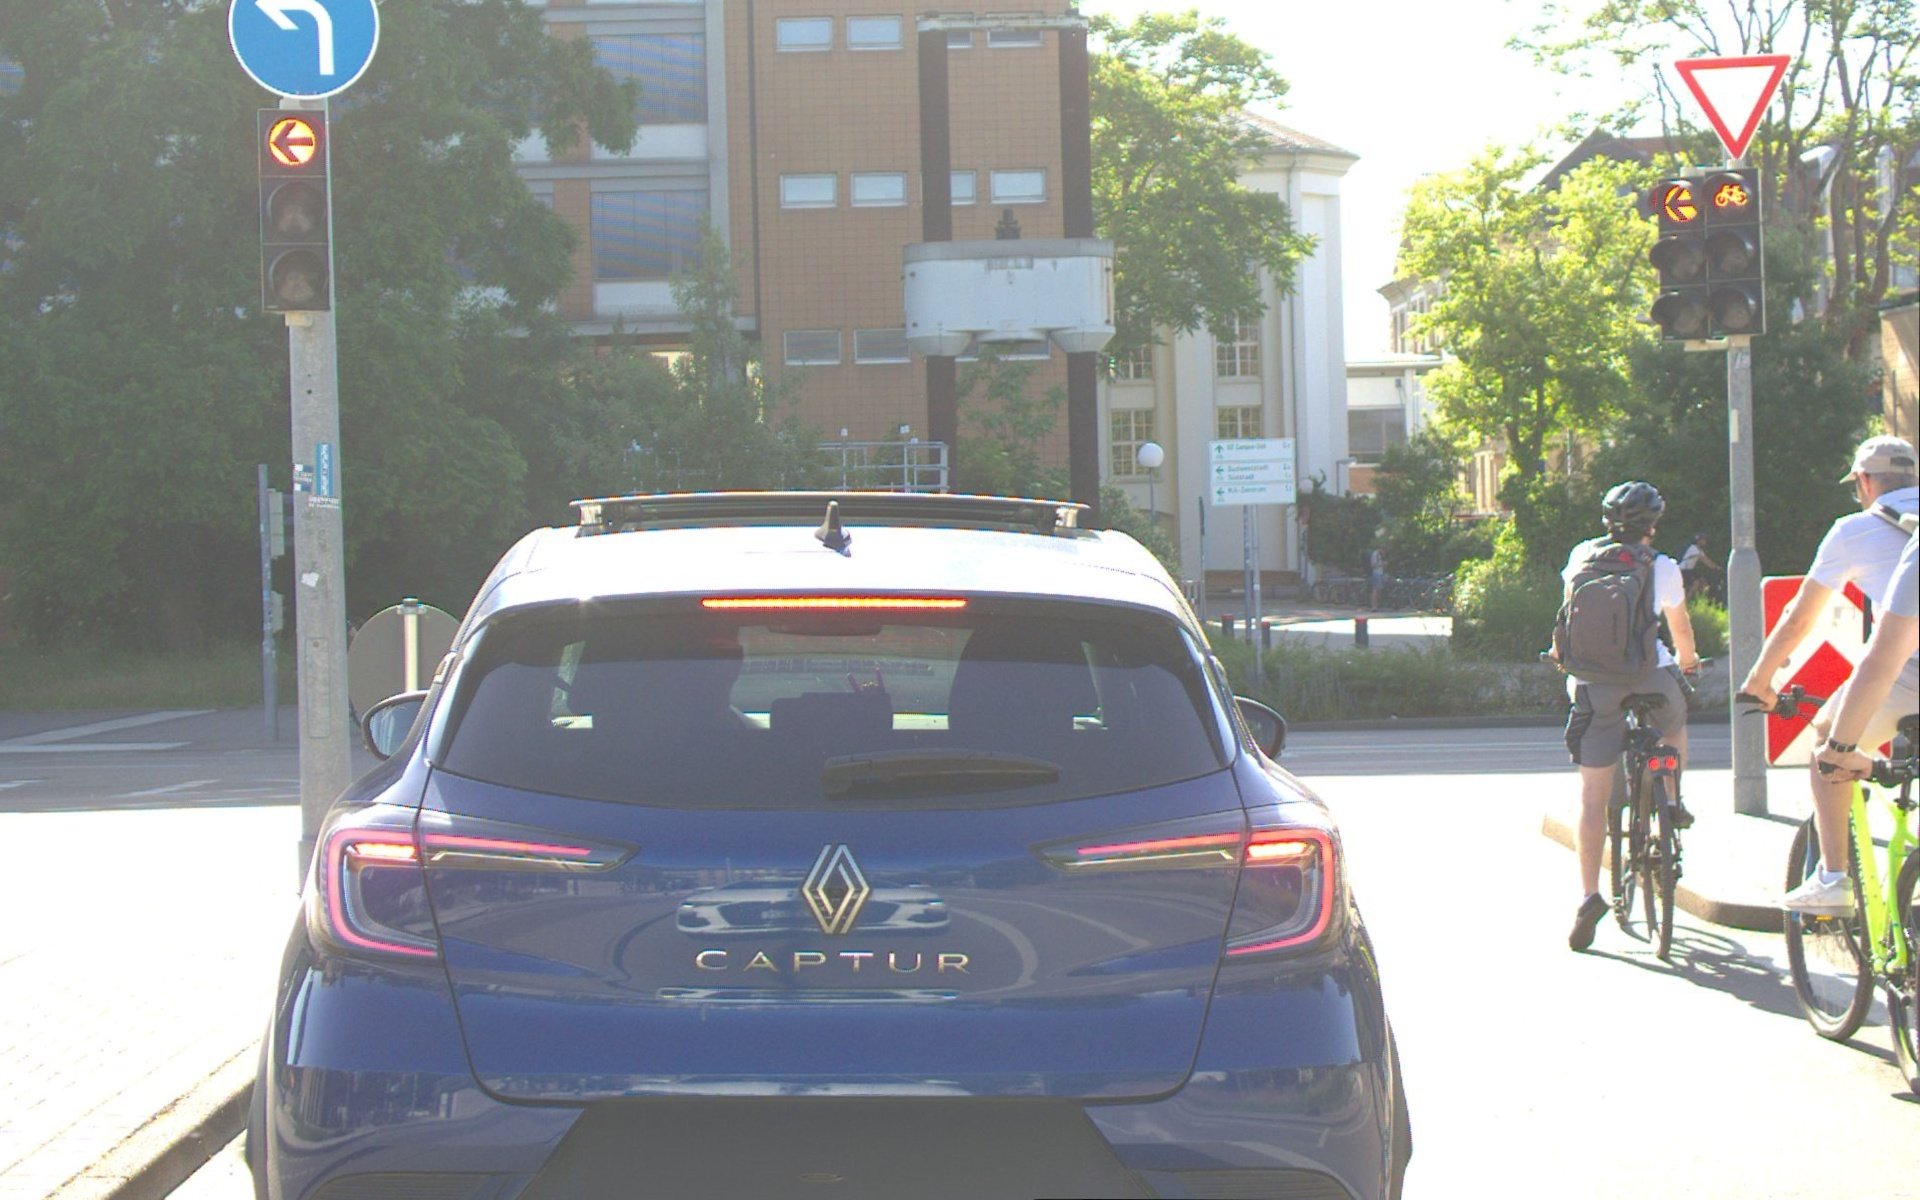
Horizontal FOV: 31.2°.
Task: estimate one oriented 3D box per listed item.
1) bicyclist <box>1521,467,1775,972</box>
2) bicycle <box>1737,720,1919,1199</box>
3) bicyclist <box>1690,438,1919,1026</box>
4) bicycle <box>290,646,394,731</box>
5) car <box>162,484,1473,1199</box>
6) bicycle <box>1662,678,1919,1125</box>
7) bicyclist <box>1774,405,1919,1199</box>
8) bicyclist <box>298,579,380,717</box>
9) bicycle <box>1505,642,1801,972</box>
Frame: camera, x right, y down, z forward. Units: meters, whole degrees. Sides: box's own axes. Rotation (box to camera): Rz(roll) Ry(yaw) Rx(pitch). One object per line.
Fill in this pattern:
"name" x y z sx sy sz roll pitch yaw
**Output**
"bicyclist" 2.525 0.416 12.728 0.699 1.785 1.142 0 1 -1
"bicycle" 2.229 0.844 7.327 0.689 1.085 1.922 0 1 -1
"bicyclist" 2.562 0.349 9.857 0.678 1.589 1.142 0 1 -1
"bicycle" -7.883 1.119 43.913 0.755 0.981 2.093 -1 1 5
"car" -0.271 0.609 6.655 1.788 1.580 3.915 0 1 -2
"bicycle" 2.558 0.799 9.825 0.689 1.085 1.922 0 1 -1
"bicyclist" 2.222 0.501 7.346 0.683 1.785 1.142 0 1 -1
"bicyclist" -7.905 0.604 43.802 0.755 1.710 0.998 -1 1 5
"bicycle" 2.532 0.722 12.757 0.689 1.085 1.922 0 1 -1
